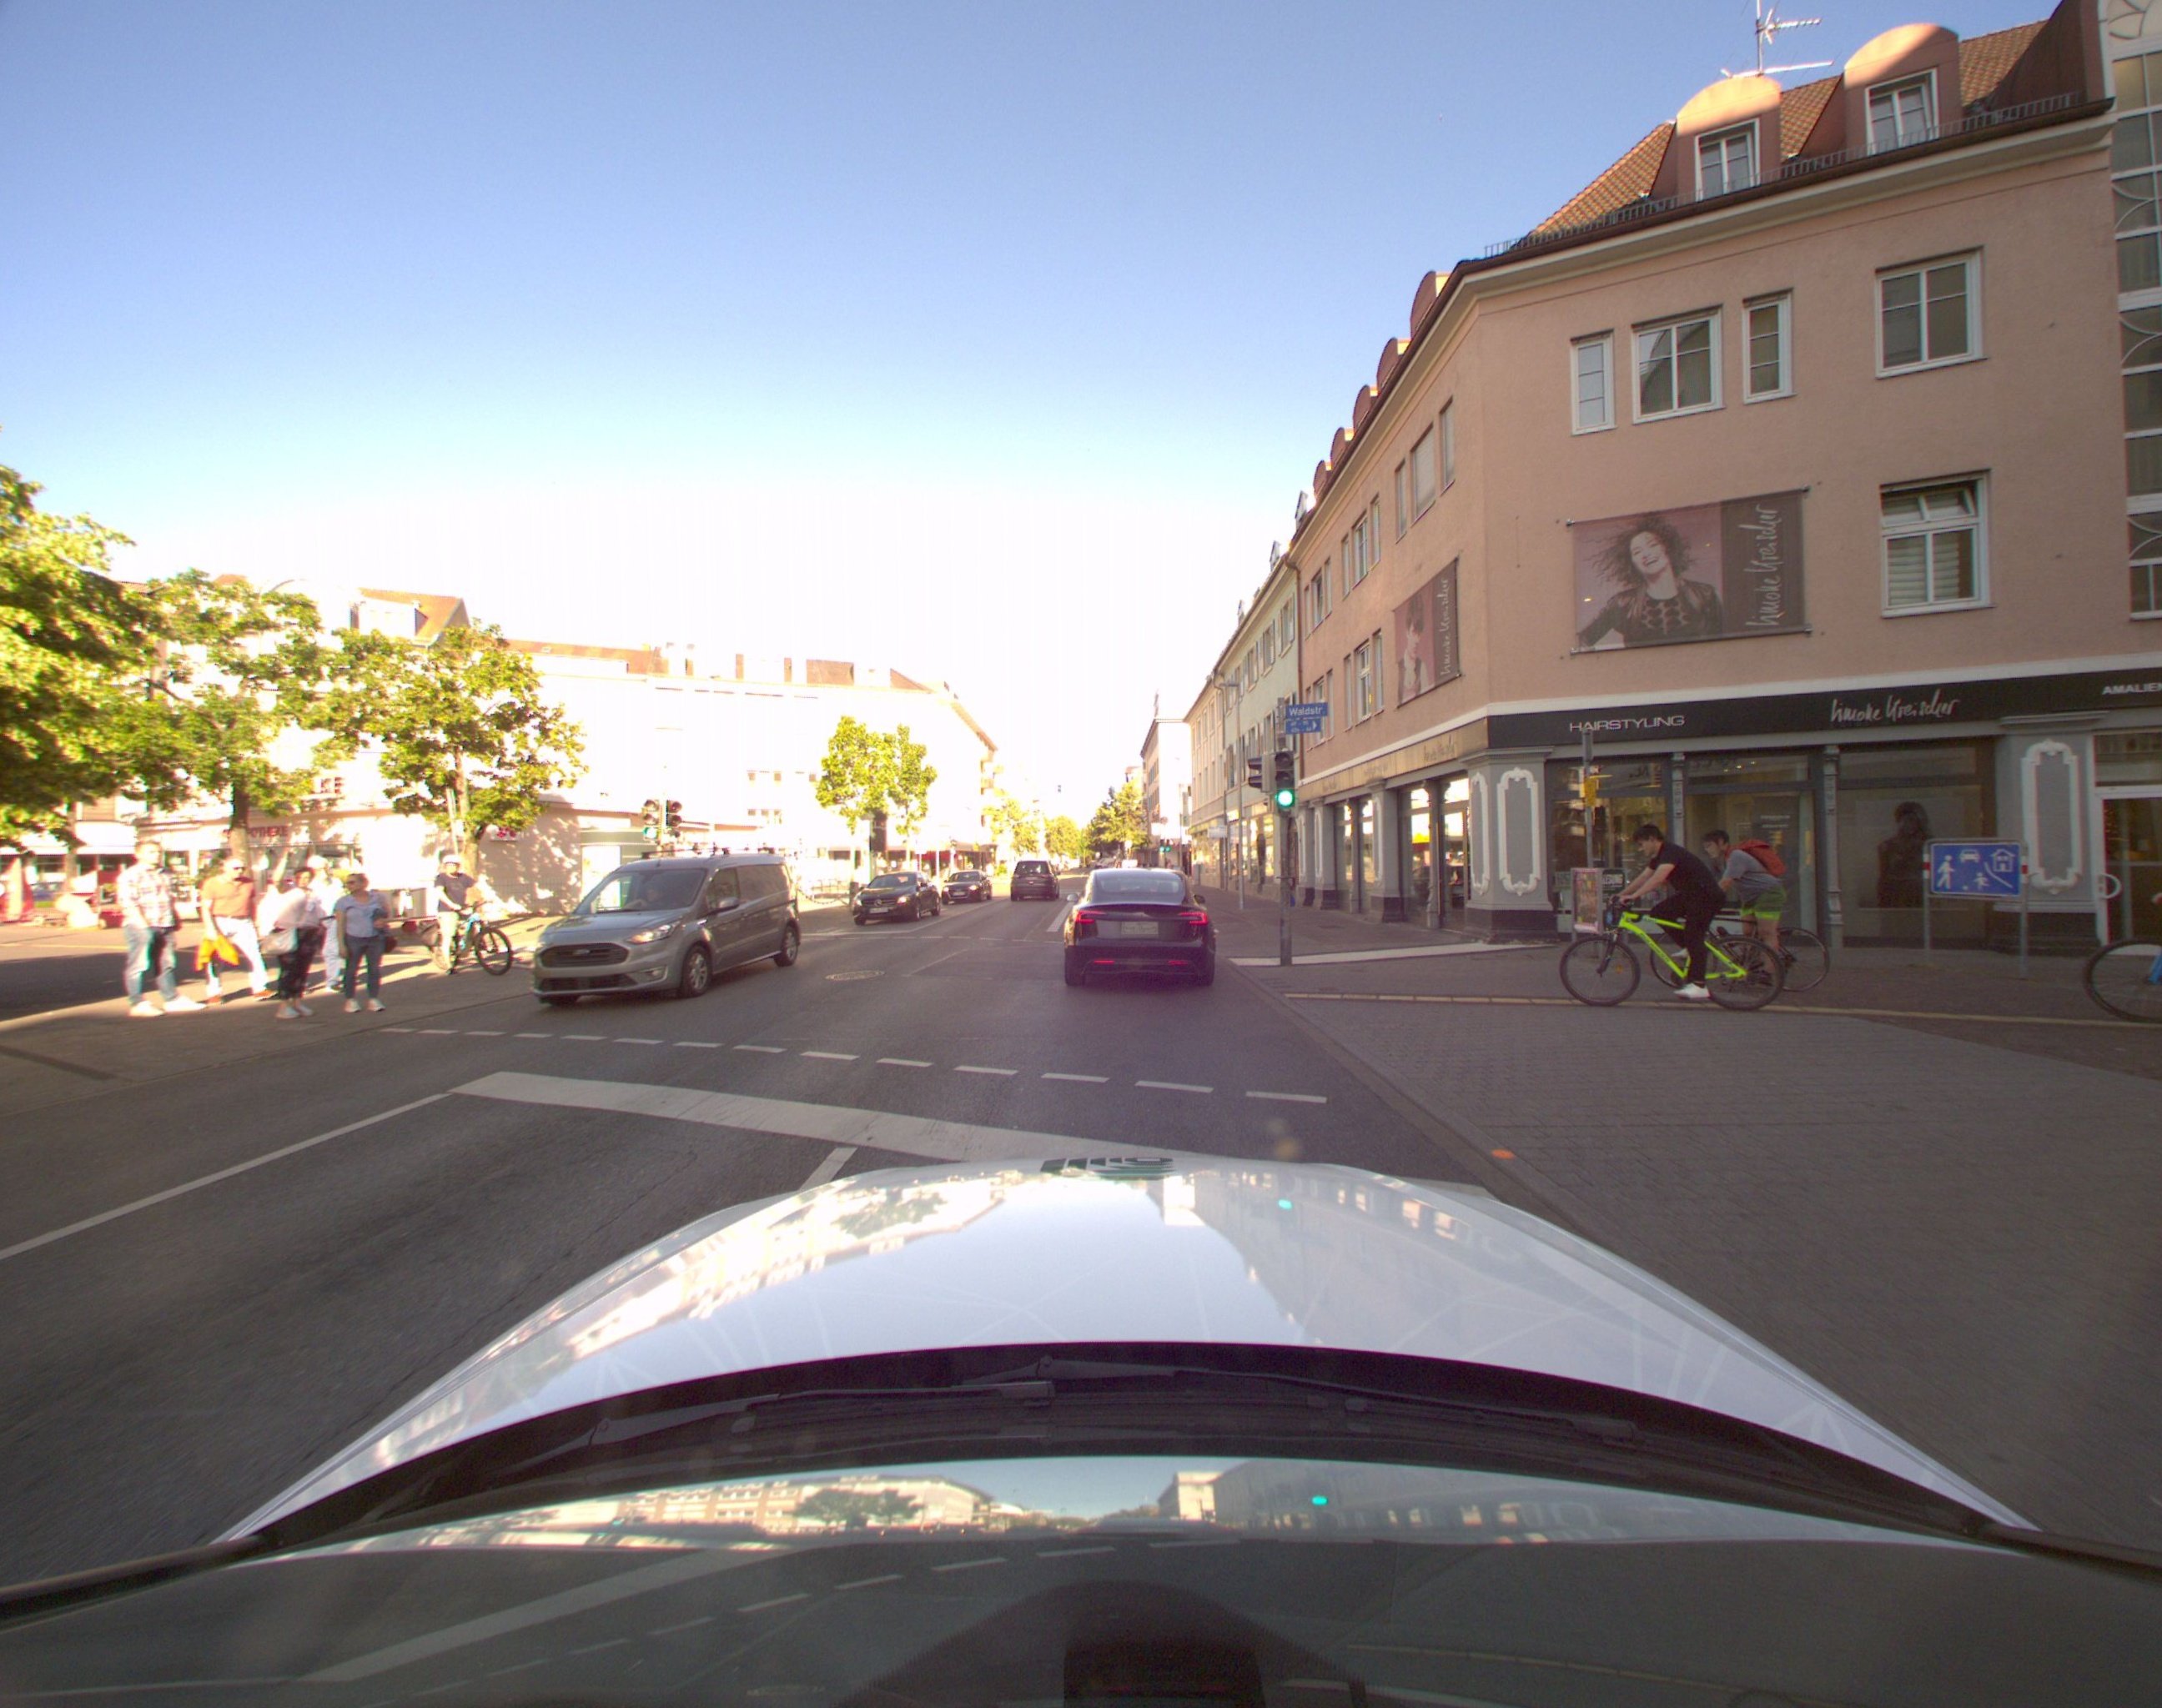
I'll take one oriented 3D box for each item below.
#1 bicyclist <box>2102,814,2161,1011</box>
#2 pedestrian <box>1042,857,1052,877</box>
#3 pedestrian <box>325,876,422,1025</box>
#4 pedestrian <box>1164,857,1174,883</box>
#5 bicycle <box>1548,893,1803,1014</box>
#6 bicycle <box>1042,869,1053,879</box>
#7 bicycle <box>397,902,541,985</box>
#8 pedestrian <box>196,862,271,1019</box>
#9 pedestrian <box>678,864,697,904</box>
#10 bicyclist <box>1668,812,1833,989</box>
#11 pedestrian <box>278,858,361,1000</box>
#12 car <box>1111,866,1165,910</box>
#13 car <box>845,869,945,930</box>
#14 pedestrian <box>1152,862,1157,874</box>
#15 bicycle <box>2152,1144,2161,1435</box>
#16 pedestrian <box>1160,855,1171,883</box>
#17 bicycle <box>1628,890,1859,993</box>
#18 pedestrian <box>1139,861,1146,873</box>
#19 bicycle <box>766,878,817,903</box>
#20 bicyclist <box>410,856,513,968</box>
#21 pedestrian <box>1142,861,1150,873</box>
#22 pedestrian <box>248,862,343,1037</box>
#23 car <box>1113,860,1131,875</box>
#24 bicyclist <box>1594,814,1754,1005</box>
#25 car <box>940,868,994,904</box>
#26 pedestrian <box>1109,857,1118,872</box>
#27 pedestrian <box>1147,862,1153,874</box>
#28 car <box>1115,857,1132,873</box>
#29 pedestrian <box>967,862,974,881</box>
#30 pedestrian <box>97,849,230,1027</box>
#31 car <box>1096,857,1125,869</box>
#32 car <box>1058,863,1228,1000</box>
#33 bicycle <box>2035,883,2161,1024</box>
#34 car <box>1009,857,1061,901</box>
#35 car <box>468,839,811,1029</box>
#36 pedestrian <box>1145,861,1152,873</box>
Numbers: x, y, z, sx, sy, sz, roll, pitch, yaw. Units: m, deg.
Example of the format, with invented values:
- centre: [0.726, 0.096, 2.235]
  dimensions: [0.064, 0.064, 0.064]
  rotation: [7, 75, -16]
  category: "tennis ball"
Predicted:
- centre: [9.187, 0.464, 6.584]
  dimensions: [1.017, 1.583, 0.730]
  rotation: [-1, -1, 42]
  category: "bicyclist"
- centre: [-3.426, 1.306, 82.092]
  dimensions: [0.779, 1.866, 0.997]
  rotation: [-4, 0, -14]
  category: "pedestrian"
- centre: [-8.420, 1.106, 9.703]
  dimensions: [0.679, 1.673, 0.702]
  rotation: [-1, -1, 32]
  category: "pedestrian"
- centre: [5.953, 1.062, 55.198]
  dimensions: [0.571, 1.759, 0.649]
  rotation: [0, -1, 0]
  category: "pedestrian"
- centre: [5.585, 0.901, 7.802]
  dimensions: [1.891, 1.020, 0.564]
  rotation: [-1, -1, 28]
  category: "bicycle"
- centre: [-3.367, 2.002, 82.045]
  dimensions: [0.758, 1.007, 1.719]
  rotation: [-4, 0, -11]
  category: "bicycle"
- centre: [-9.533, 1.362, 12.679]
  dimensions: [2.150, 1.072, 0.768]
  rotation: [2, 0, 22]
  category: "bicycle"
- centre: [-10.326, 1.007, 9.942]
  dimensions: [0.593, 1.812, 0.774]
  rotation: [0, -1, -43]
  category: "pedestrian"
- centre: [-17.165, 1.301, 35.523]
  dimensions: [0.517, 1.709, 0.611]
  rotation: [-2, -1, 1]
  category: "pedestrian"
- centre: [7.031, 0.473, 8.618]
  dimensions: [1.128, 1.761, 0.757]
  rotation: [-1, -1, 18]
  category: "bicyclist"
- centre: [-10.145, 0.961, 10.869]
  dimensions: [0.788, 1.812, 0.582]
  rotation: [0, -1, -42]
  category: "pedestrian"
- centre: [1.976, 1.162, 28.994]
  dimensions: [1.754, 1.419, 4.357]
  rotation: [-1, -1, 3]
  category: "car"
- centre: [-5.312, 1.253, 23.843]
  dimensions: [1.742, 1.423, 4.256]
  rotation: [-4, -1, 2]
  category: "car"
- centre: [7.911, 1.476, 87.251]
  dimensions: [0.485, 1.322, 0.655]
  rotation: [-2, -1, 8]
  category: "pedestrian"
- centre: [3.390, 1.054, 1.562]
  dimensions: [1.839, 0.831, 0.740]
  rotation: [-1, 0, -5]
  category: "bicycle"
- centre: [5.761, 1.027, 55.743]
  dimensions: [0.637, 1.842, 0.681]
  rotation: [-1, -1, 0]
  category: "pedestrian"
- centre: [6.945, 0.897, 8.636]
  dimensions: [1.801, 0.994, 0.567]
  rotation: [-1, -1, 19]
  category: "bicycle"
- centre: [7.297, 1.555, 97.083]
  dimensions: [0.707, 1.347, 1.059]
  rotation: [-2, -1, -2]
  category: "pedestrian"
- centre: [-12.980, 1.616, 36.542]
  dimensions: [1.980, 1.088, 0.754]
  rotation: [-1, -1, 2]
  category: "bicycle"
- centre: [-9.598, 0.861, 12.651]
  dimensions: [0.796, 1.648, 0.999]
  rotation: [-1, -1, 23]
  category: "bicyclist"
- centre: [7.678, 1.540, 95.971]
  dimensions: [0.728, 1.347, 1.059]
  rotation: [-2, -1, -2]
  category: "pedestrian"
- centre: [-8.814, 1.024, 9.139]
  dimensions: [0.643, 1.857, 0.629]
  rotation: [-1, -1, 32]
  category: "pedestrian"
- centre: [4.616, 1.487, 92.172]
  dimensions: [1.994, 1.636, 4.289]
  rotation: [-1, 0, 1]
  category: "car"
- centre: [5.602, 0.496, 7.772]
  dimensions: [1.118, 1.685, 0.730]
  rotation: [-1, -1, 28]
  category: "bicyclist"
- centre: [-4.987, 1.381, 36.076]
  dimensions: [1.644, 1.397, 4.045]
  rotation: [-2, 0, 2]
  category: "car"
- centre: [4.374, 1.358, 108.645]
  dimensions: [0.950, 1.915, 1.110]
  rotation: [-2, -1, 17]
  category: "pedestrian"
- centre: [7.346, 1.483, 86.475]
  dimensions: [0.584, 1.313, 0.560]
  rotation: [-2, -1, 1]
  category: "pedestrian"
- centre: [5.138, 1.366, 98.599]
  dimensions: [1.897, 1.852, 4.289]
  rotation: [-1, 0, 1]
  category: "car"
- centre: [-10.412, 1.637, 76.526]
  dimensions: [0.557, 1.709, 0.712]
  rotation: [-2, -1, -2]
  category: "pedestrian"
- centre: [-10.326, 0.907, 9.195]
  dimensions: [0.605, 1.918, 0.784]
  rotation: [-1, -1, 3]
  category: "pedestrian"
- centre: [5.564, 1.736, 153.901]
  dimensions: [5.375, 2.145, 1.999]
  rotation: [-2, -1, -1]
  category: "car"
- centre: [0.765, 0.897, 11.294]
  dimensions: [1.862, 1.427, 4.366]
  rotation: [-1, 0, 2]
  category: "car"
- centre: [9.120, 0.802, 6.498]
  dimensions: [0.737, 1.096, 1.896]
  rotation: [0, -1, -44]
  category: "bicycle"
- centre: [-1.912, 1.036, 35.028]
  dimensions: [1.897, 1.733, 4.289]
  rotation: [-1, 0, 1]
  category: "car"
- centre: [-5.561, 0.878, 11.194]
  dimensions: [1.987, 1.947, 4.783]
  rotation: [-3, 0, 0]
  category: "car"
- centre: [8.080, 1.535, 97.237]
  dimensions: [0.728, 1.360, 0.958]
  rotation: [-2, -1, 0]
  category: "pedestrian"
